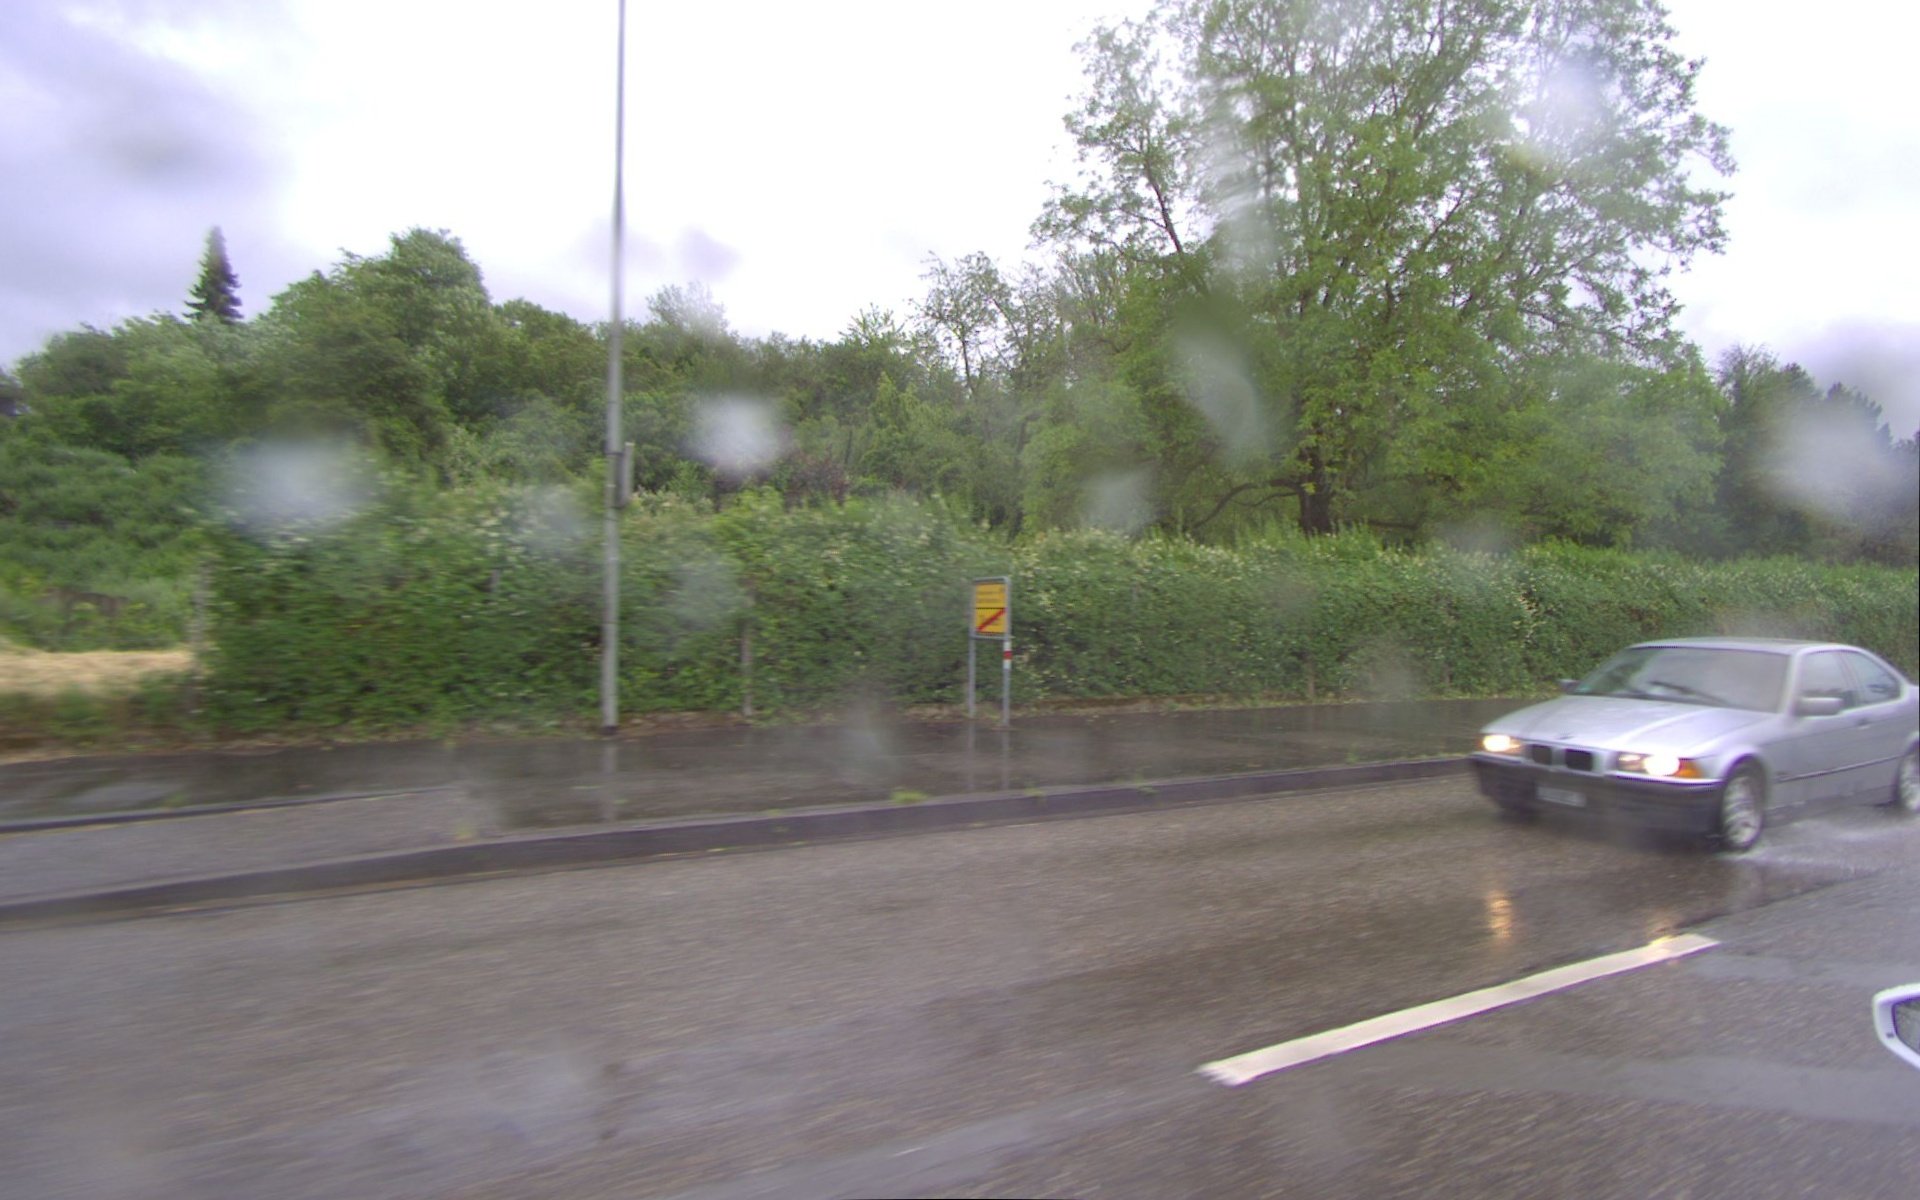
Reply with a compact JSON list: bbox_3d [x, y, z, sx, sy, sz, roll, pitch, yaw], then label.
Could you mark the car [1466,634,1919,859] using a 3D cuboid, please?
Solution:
[{"bbox_3d":[5.963,0.965,7.913,3.858,1.367,1.694,1,-1,-30],"label":"car"}]
